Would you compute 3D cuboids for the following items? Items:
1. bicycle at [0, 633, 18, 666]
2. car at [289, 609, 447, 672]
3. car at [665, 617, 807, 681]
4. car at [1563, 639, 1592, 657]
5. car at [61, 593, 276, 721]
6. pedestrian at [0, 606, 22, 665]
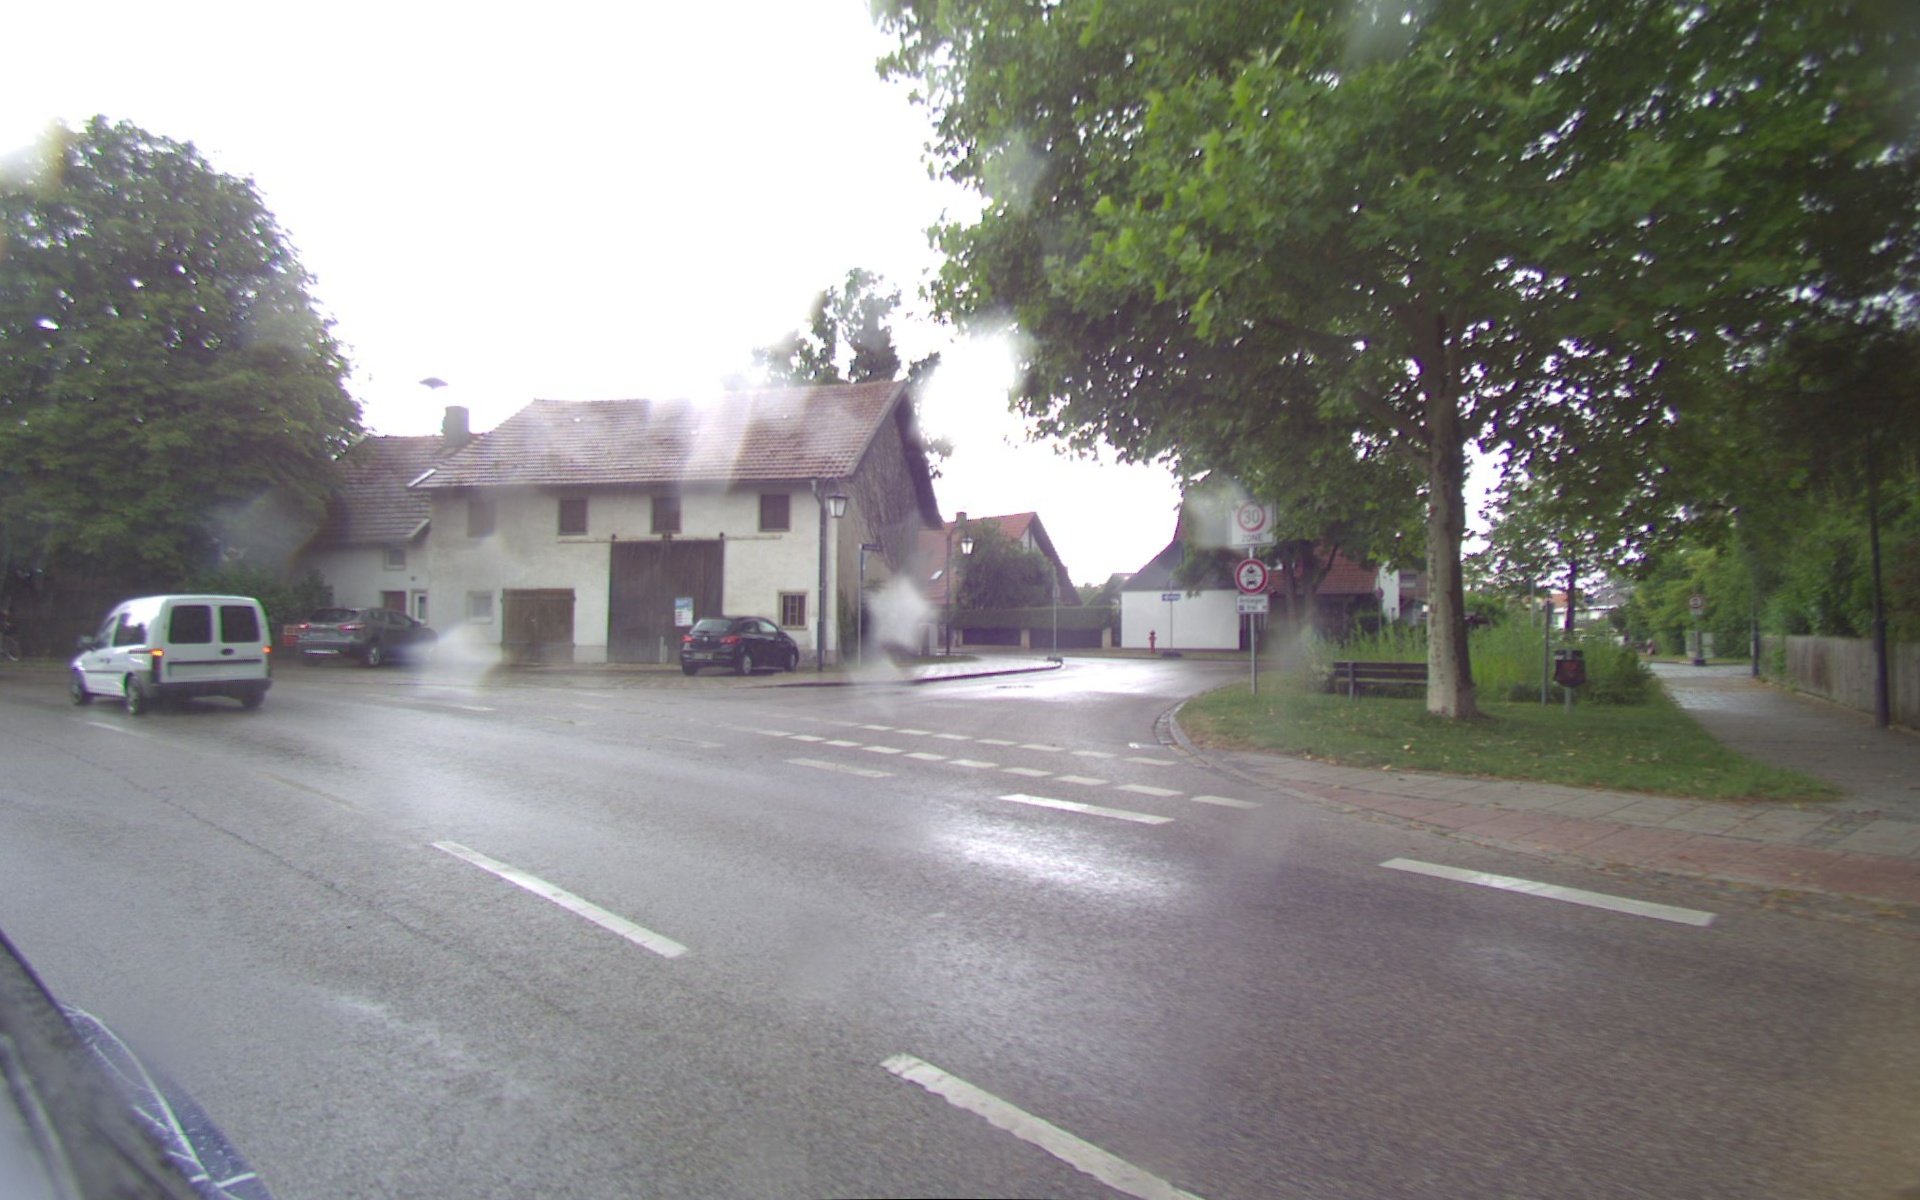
[{"bbox_3d":[-28.036,1.412,28.764,1.847,0.909,0.664,0,-1,-2],"label":"bicycle"},{"bbox_3d":[-15.900,1.124,27.461,1.792,1.560,4.281,1,-3,-1],"label":"car"},{"bbox_3d":[-5.509,1.172,25.490,1.803,1.447,4.261,0,-1,14],"label":"car"},{"bbox_3d":[55.641,4.304,91.275,1.991,1.453,3.961,0,0,28],"label":"car"},{"bbox_3d":[-12.640,0.798,16.084,4.323,1.778,1.625,0,0,37],"label":"car"},{"bbox_3d":[-26.597,0.977,28.145,0.642,1.640,0.480,1,-1,-31],"label":"pedestrian"}]
